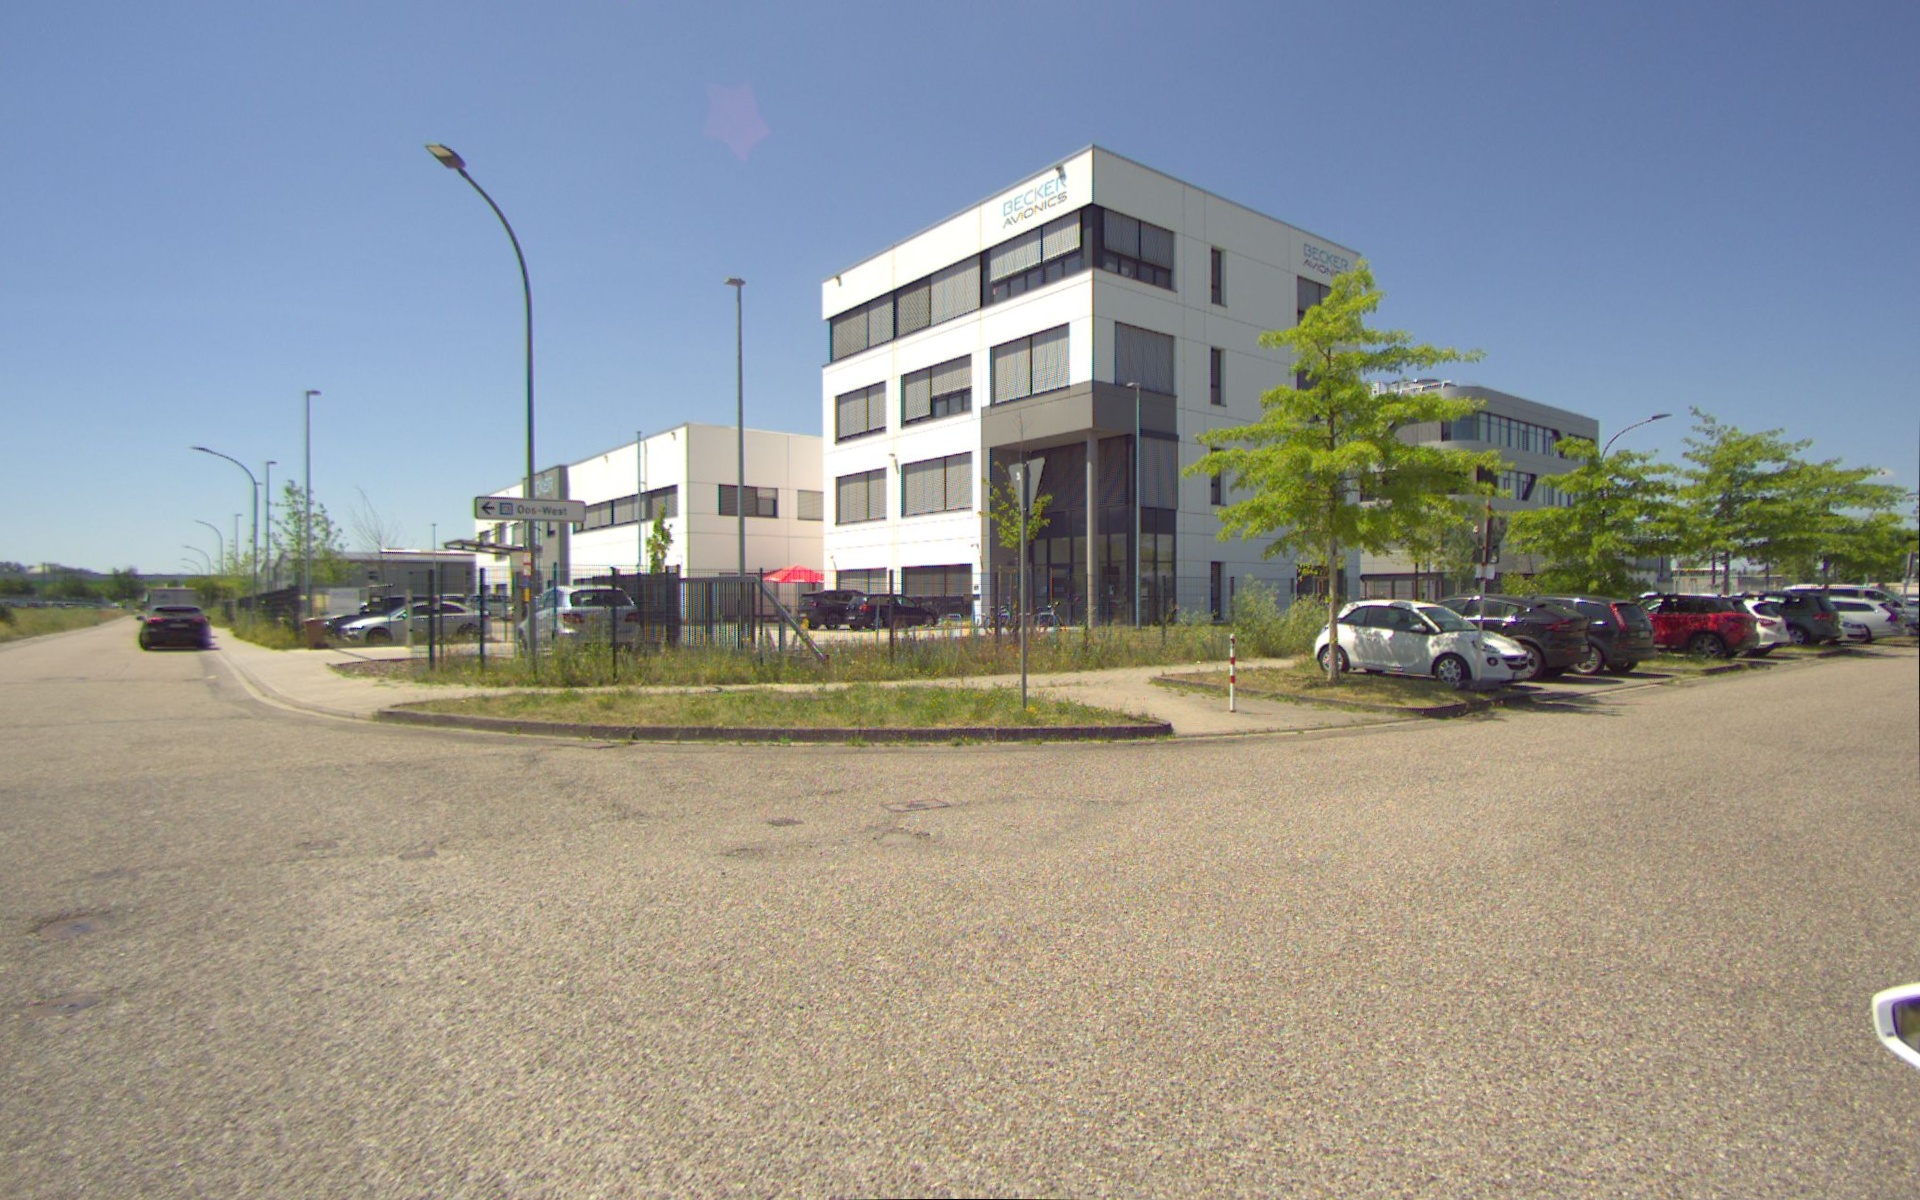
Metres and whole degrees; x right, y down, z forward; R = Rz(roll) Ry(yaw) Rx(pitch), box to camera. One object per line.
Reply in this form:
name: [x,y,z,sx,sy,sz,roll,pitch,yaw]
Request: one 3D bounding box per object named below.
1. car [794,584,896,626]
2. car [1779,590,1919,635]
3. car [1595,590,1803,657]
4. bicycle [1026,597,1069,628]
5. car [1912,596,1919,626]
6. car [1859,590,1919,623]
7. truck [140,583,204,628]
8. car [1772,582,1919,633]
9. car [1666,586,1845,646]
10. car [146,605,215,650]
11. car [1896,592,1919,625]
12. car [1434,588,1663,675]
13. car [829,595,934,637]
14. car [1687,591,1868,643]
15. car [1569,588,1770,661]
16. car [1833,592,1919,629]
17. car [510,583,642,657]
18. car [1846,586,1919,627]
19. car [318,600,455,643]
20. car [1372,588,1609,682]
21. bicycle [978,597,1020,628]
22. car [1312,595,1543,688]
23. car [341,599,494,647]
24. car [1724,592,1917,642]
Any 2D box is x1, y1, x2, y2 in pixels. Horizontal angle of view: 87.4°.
car: [-4.859,0.186,42.699,3.965,1.706,1.762,0,0,-39]
car: [33.662,0.440,37.920,1.747,1.504,3.940,0,2,-37]
car: [19.791,0.556,27.071,1.789,1.534,4.143,-2,3,-35]
bicycle: [2.904,0.407,33.562,0.458,0.995,1.579,-1,0,-39]
car: [51.748,0.603,51.858,1.717,1.529,3.624,0,2,-41]
car: [44.655,0.325,46.560,1.696,1.500,4.163,0,2,-36]
truck: [-37.698,0.259,47.990,2.150,2.040,5.035,-1,0,-41]
car: [35.771,0.252,39.968,1.977,1.917,5.035,0,1,-35]
car: [24.650,0.435,31.250,1.712,1.656,4.086,-1,2,-38]
car: [-26.425,0.877,33.998,1.683,1.395,3.953,0,0,-40]
car: [49.654,0.469,50.331,1.799,1.643,3.711,0,2,-36]
car: [12.509,0.594,21.554,1.712,1.613,3.877,-1,2,-37]
car: [-3.151,0.606,40.797,3.965,1.624,1.762,0,0,-39]
car: [26.303,0.495,32.436,1.713,1.493,4.275,-1,2,-39]
car: [17.752,0.552,25.270,1.713,1.613,3.807,-1,2,-39]
car: [40.620,0.450,43.508,1.591,1.480,4.003,0,2,-40]
car: [-8.551,0.416,22.195,1.708,1.483,3.640,-1,0,-39]
car: [42.310,0.296,44.823,1.764,1.701,3.950,0,2,-42]
car: [-21.835,0.762,38.324,4.365,1.535,1.681,0,0,-38]
car: [10.548,0.606,20.164,1.814,1.615,3.805,-1,2,-40]
bicycle: [1.257,0.400,32.521,0.458,0.995,1.579,-1,0,-39]
car: [8.534,0.675,18.549,1.712,1.461,3.478,-1,2,-37]
car: [-18.381,0.729,34.130,4.365,1.535,1.681,0,0,-38]
car: [28.688,0.503,33.626,1.842,1.467,4.673,-1,2,-40]
